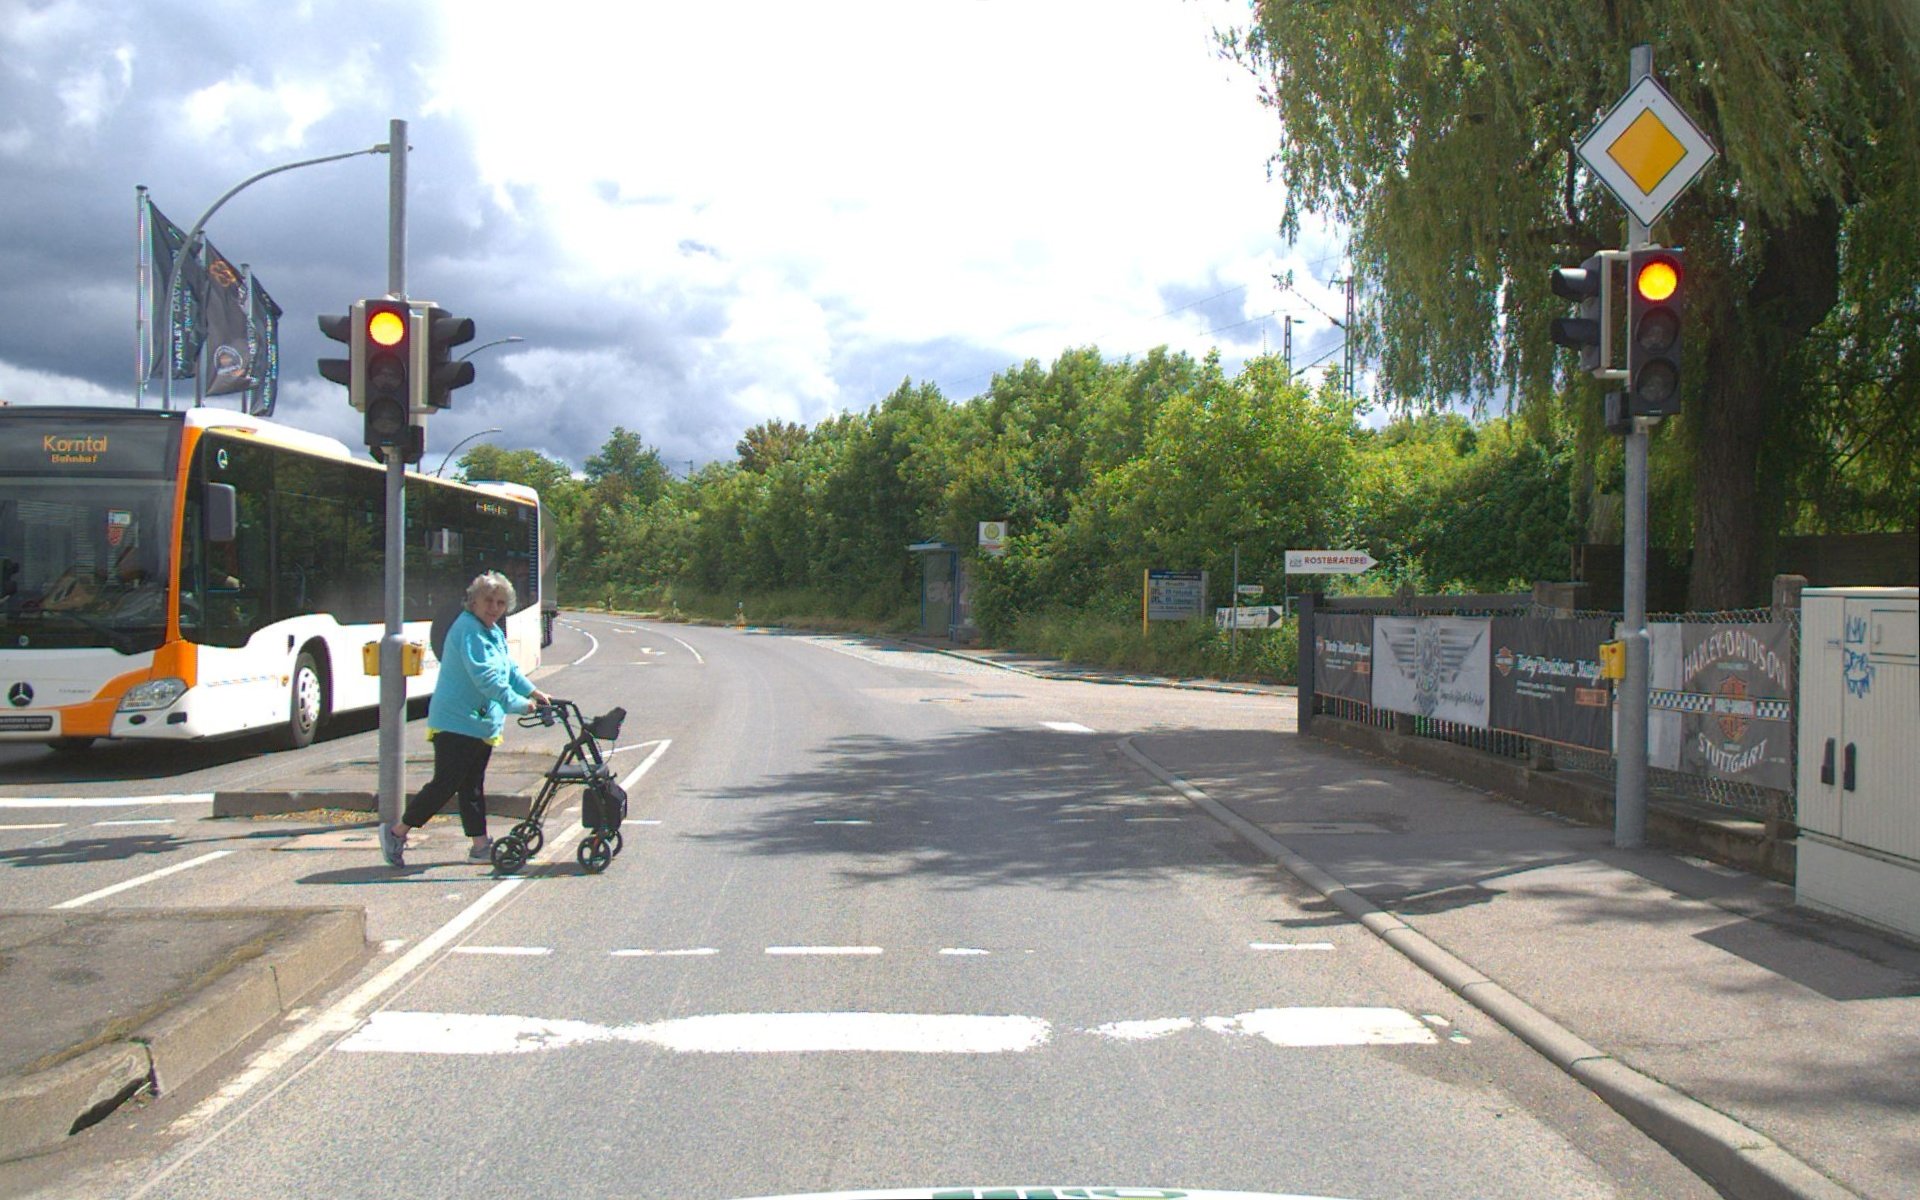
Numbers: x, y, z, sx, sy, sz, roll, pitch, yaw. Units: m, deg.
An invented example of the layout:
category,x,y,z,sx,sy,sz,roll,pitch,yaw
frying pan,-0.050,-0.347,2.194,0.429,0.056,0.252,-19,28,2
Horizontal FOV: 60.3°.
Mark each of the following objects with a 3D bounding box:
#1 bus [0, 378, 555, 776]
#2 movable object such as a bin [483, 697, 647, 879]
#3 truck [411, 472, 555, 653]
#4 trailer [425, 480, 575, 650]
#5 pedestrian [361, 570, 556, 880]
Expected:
category,x,y,z,sx,sy,sz,roll,pitch,yaw
bus,-7.396,-0.161,18.946,2.663,3.084,12.263,0,0,-1
movable object such as a bin,-2.094,0.988,8.839,0.731,0.887,0.670,1,0,-4
truck,-11.828,-0.850,41.516,2.748,4.124,6.484,1,0,-10
trailer,-13.143,-0.845,48.511,2.748,4.124,15.517,1,0,-10
pedestrian,-2.650,0.641,8.815,0.822,1.570,0.733,1,-1,-4
